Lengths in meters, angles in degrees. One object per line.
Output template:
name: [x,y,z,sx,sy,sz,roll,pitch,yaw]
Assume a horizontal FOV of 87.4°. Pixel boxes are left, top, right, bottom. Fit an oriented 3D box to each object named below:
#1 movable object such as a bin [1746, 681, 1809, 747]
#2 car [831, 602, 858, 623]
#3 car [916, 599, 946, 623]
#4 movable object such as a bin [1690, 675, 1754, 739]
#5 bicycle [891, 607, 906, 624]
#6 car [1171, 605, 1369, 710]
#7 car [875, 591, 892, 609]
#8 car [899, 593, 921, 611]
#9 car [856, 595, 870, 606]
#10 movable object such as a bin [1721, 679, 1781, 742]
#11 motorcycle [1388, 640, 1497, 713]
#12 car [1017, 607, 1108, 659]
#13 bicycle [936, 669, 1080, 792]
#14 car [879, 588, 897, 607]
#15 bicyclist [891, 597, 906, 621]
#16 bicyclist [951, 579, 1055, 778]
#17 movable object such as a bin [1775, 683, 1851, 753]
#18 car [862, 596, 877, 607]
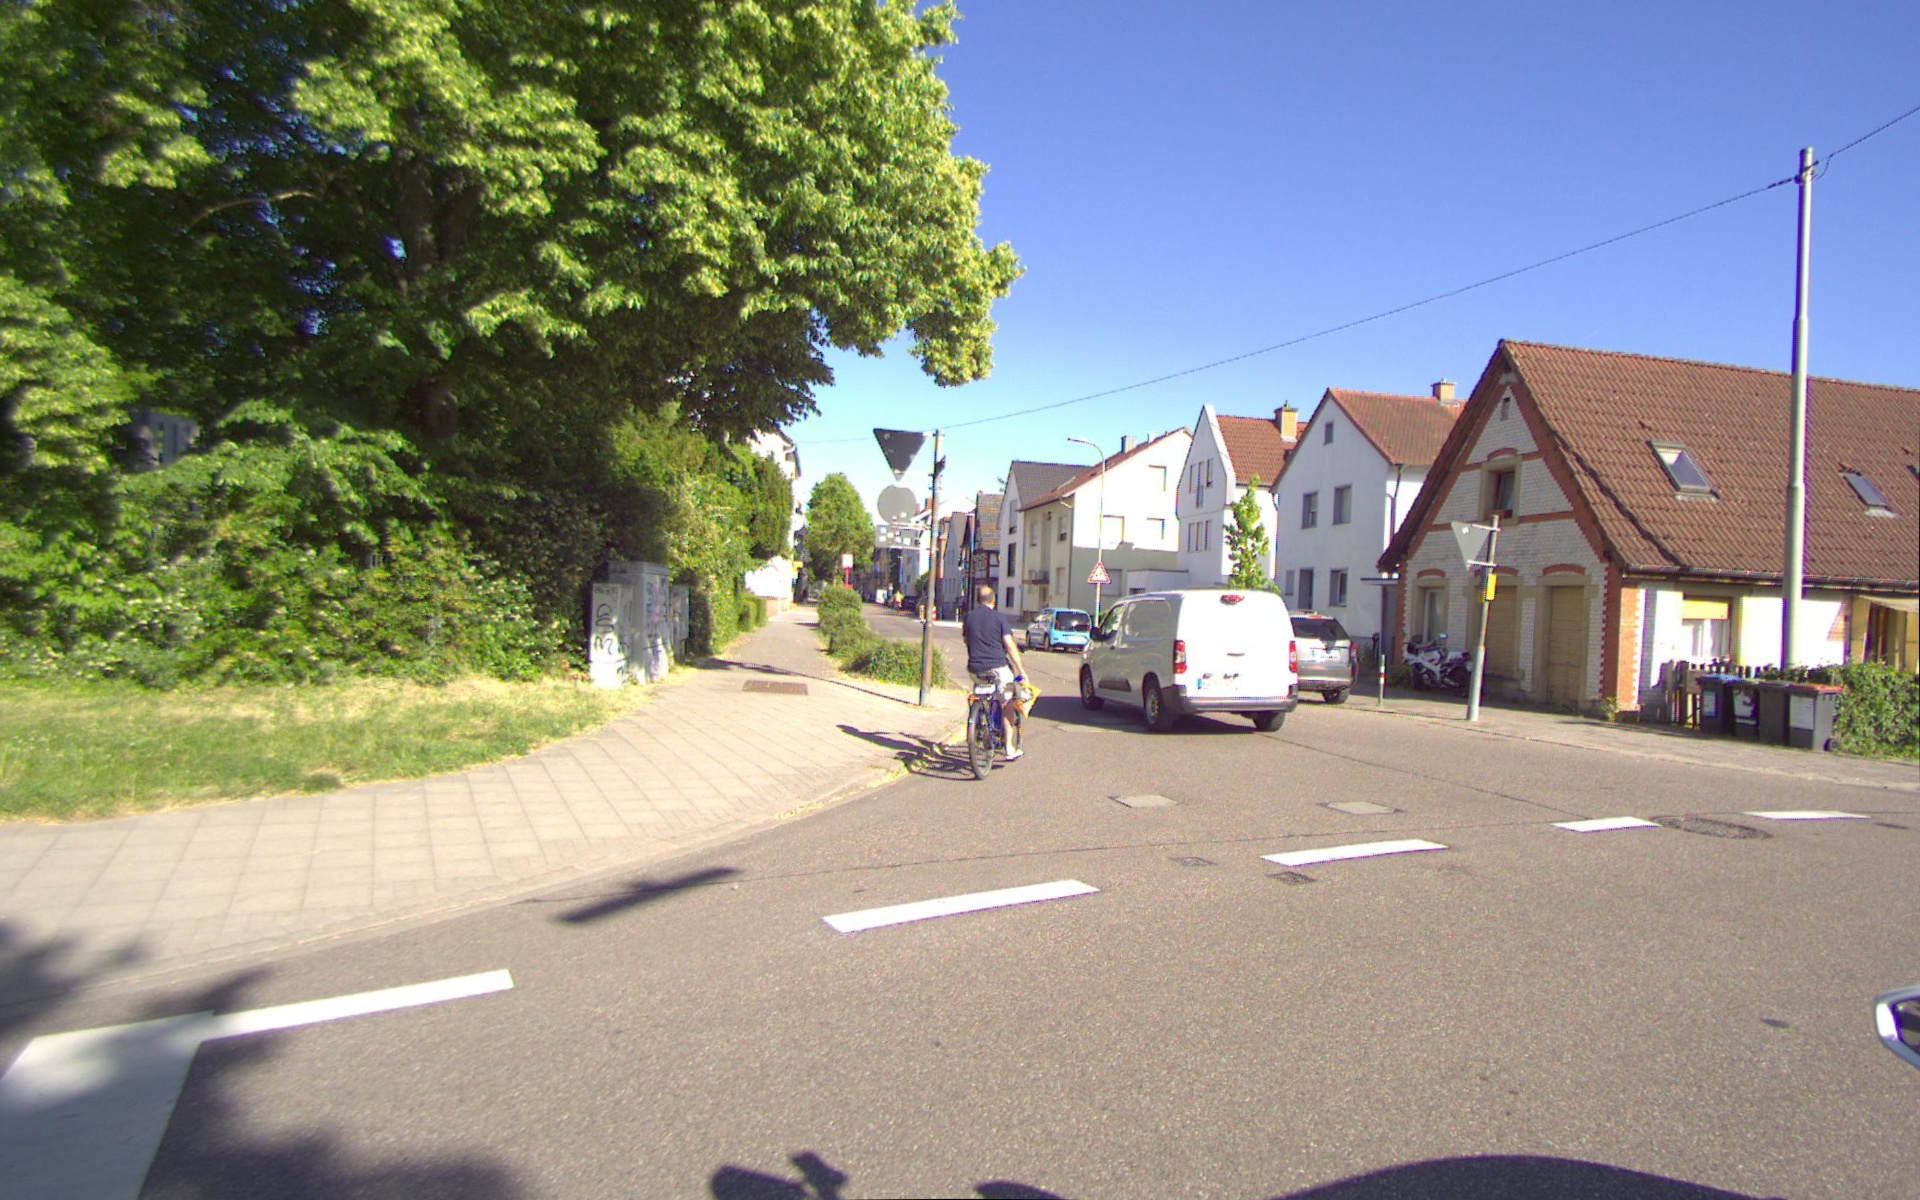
movable object such as a bin: [12.261,1.705,15.062,0.614,0.937,0.411,2,1,-12]
car: [-8.983,0.924,78.054,1.963,1.483,3.994,2,0,-8]
car: [-2.267,0.823,77.671,1.963,1.731,4.176,2,0,-6]
movable object such as a bin: [12.088,1.694,15.949,0.614,0.937,0.508,2,1,-12]
bicycle: [-5.013,1.266,82.027,1.049,1.328,3.008,3,0,-6]
car: [6.022,1.060,20.129,1.912,1.748,4.224,3,0,-12]
car: [-11.155,-0.037,145.721,1.964,2.508,4.720,2,0,-10]
car: [-5.003,0.181,99.972,1.963,1.731,4.176,2,0,-6]
car: [-16.523,0.064,170.802,1.791,1.678,4.120,2,0,-15]
movable object such as a bin: [12.186,1.694,15.482,0.614,0.918,0.412,1,1,-12]
motorcycle: [9.893,1.539,20.691,0.867,1.313,2.245,-1,0,-11]
car: [3.511,1.112,35.314,1.912,1.570,4.224,2,0,-12]
bicycle: [0.539,1.224,9.888,0.762,0.952,2.291,-4,-3,19]
car: [-11.093,-0.402,154.178,1.791,2.939,4.649,2,0,-15]
bicyclist: [-5.020,0.722,81.989,1.049,1.864,1.210,3,0,-6]
bicyclist: [0.426,0.738,9.660,0.752,1.812,0.853,-2,-2,18]
movable object such as a bin: [12.363,1.704,14.570,0.614,0.937,0.556,2,1,-12]
car: [-14.582,0.178,161.779,1.791,1.678,4.120,2,0,-15]
